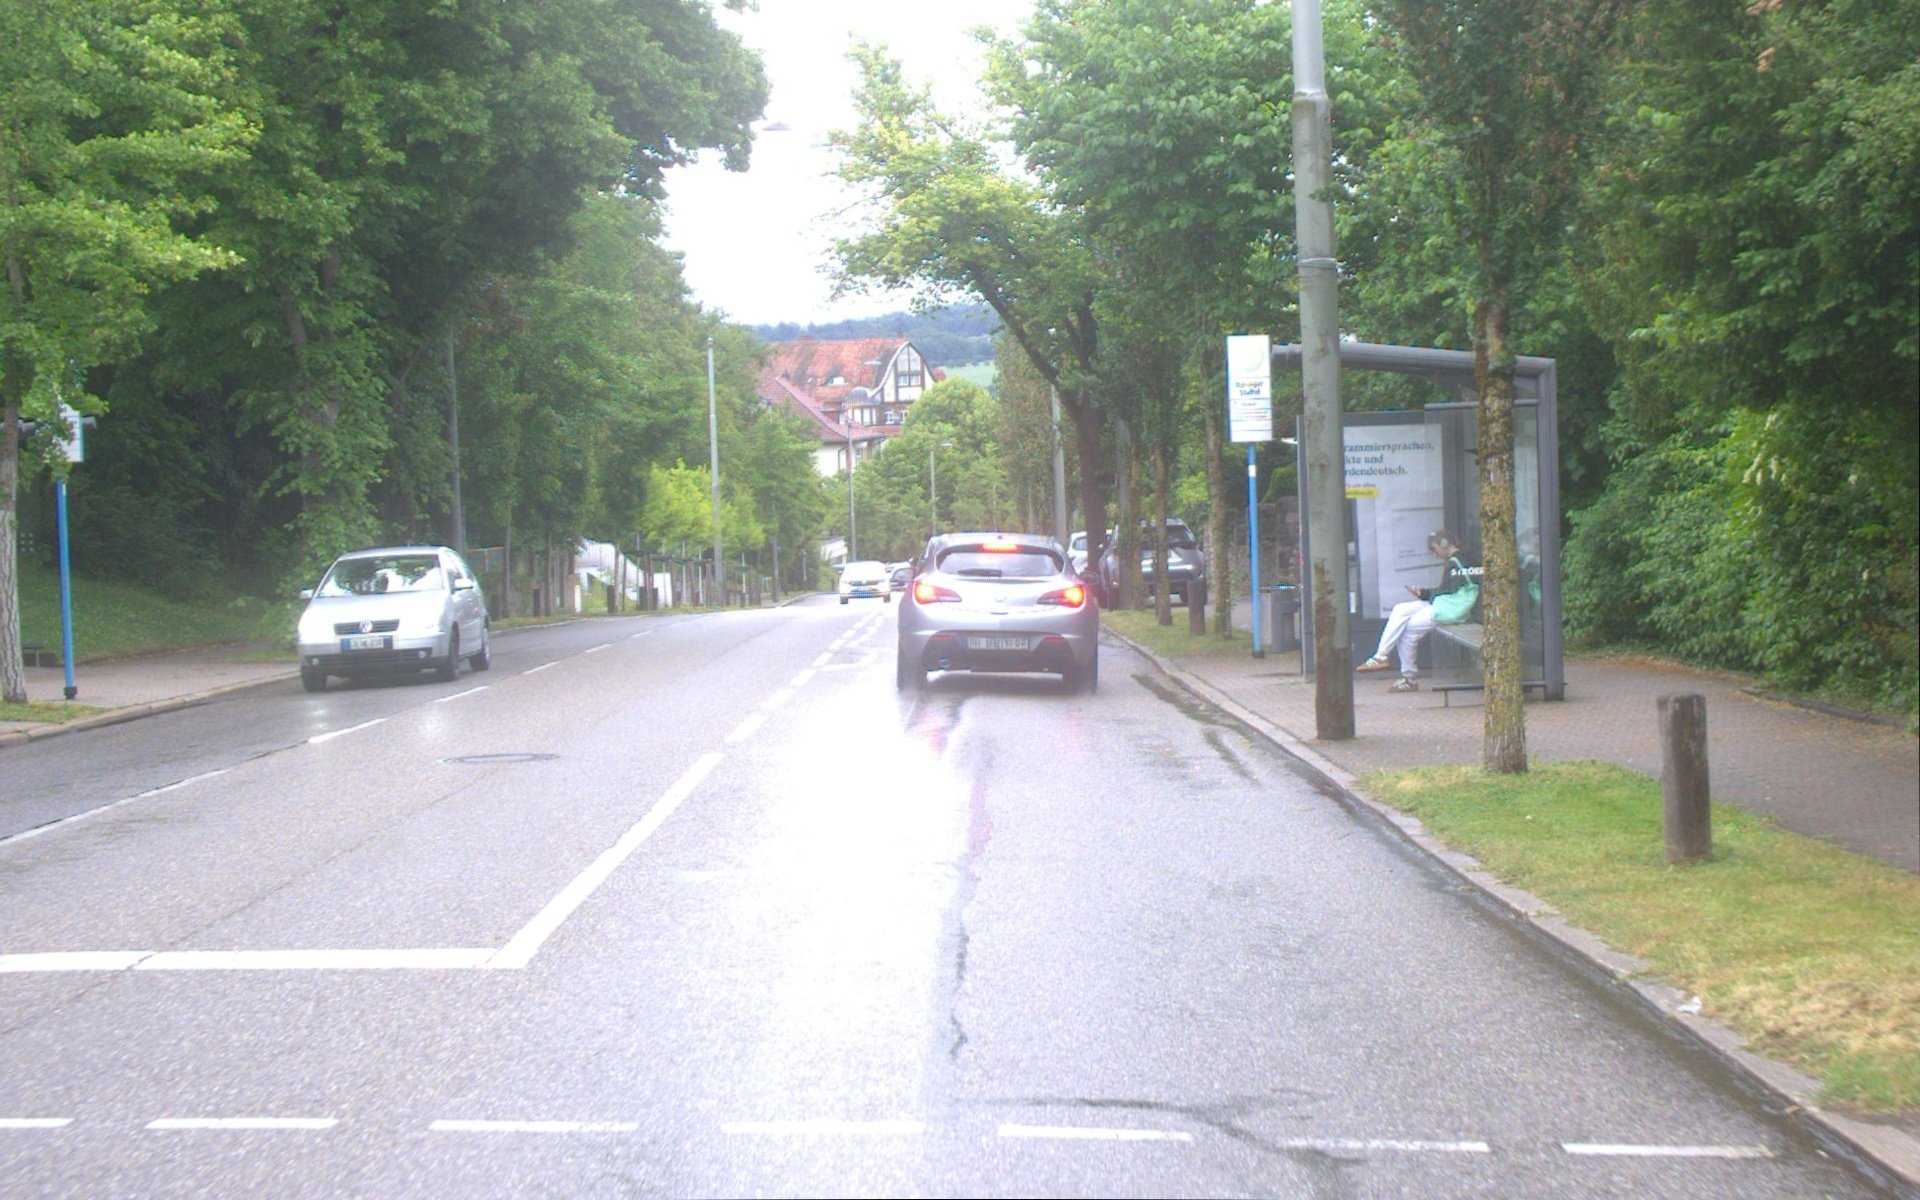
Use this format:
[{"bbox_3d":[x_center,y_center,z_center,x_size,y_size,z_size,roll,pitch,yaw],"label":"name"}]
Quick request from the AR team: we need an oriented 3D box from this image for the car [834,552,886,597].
[{"bbox_3d":[-3.614,-0.930,124.808,1.721,1.459,4.000,2,2,0],"label":"car"}]

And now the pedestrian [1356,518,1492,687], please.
[{"bbox_3d":[3.884,0.016,28.839,1.074,1.351,0.918,-2,1,7],"label":"pedestrian"}]

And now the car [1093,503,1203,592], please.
[{"bbox_3d":[3.342,-0.961,61.660,1.721,1.459,4.000,-2,2,1],"label":"car"}]

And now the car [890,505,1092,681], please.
[{"bbox_3d":[0.260,-0.113,32.365,1.754,1.459,4.001,1,2,0],"label":"car"}]

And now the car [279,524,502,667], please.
[{"bbox_3d":[-6.157,-0.090,37.566,1.721,1.394,4.000,-2,2,0],"label":"car"}]

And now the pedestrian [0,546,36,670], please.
[{"bbox_3d":[-11.359,0.075,39.885,0.938,1.399,0.918,2,2,7],"label":"pedestrian"}]

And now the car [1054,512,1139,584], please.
[{"bbox_3d":[3.026,-1.182,76.824,1.721,1.459,4.000,-2,2,1],"label":"car"}]

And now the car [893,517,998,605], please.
[{"bbox_3d":[-0.240,-0.659,60.450,1.754,1.459,4.000,1,0,0],"label":"car"}]
